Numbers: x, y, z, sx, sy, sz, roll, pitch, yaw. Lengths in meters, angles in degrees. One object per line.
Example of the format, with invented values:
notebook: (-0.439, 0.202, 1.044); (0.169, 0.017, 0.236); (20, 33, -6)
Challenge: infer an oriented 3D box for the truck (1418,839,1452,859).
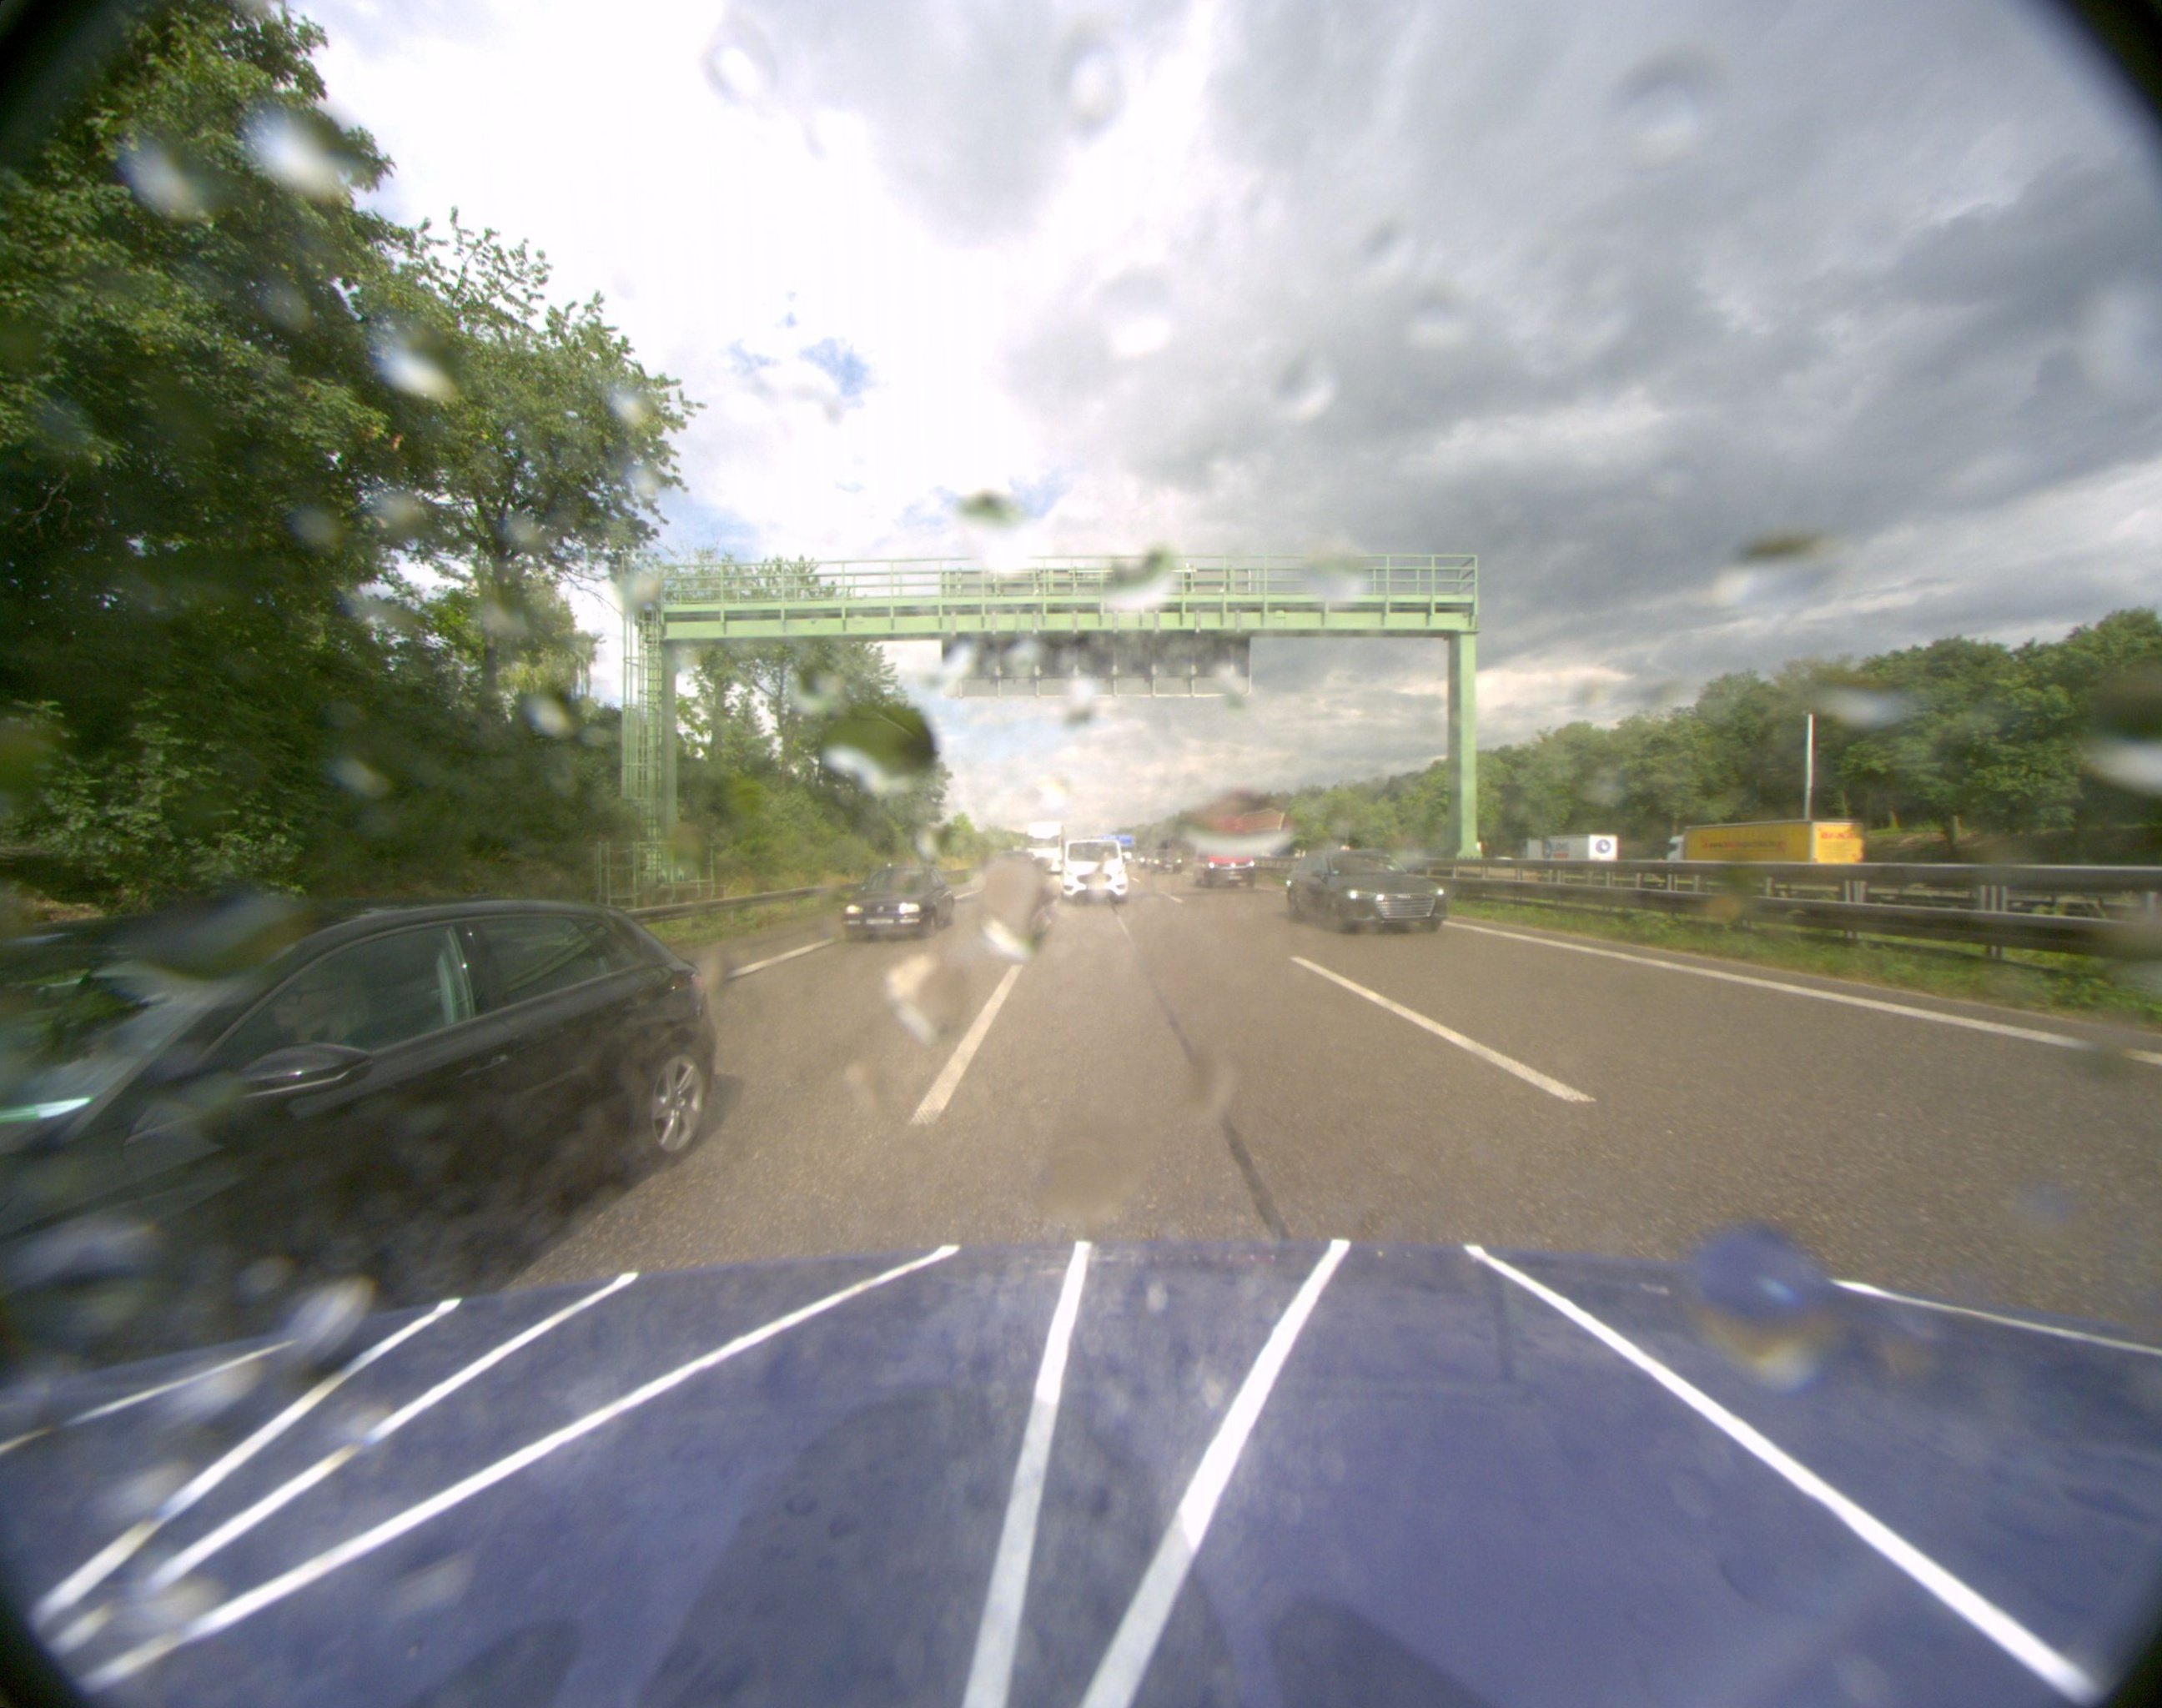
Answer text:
truck: (56.645, -0.842, 121.671); (3.049, 3.165, 5.597); (0, 0, 2)

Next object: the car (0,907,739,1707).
car: (-2.935, 1.052, 2.298); (1.759, 1.388, 4.368); (-2, 0, 0)

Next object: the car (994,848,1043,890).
car: (-2.869, 0.654, 35.925); (1.831, 1.793, 5.305); (-1, 0, 0)

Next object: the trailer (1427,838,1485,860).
trailer: (56.397, -0.800, 114.723); (3.026, 3.174, 12.175); (0, 0, 2)

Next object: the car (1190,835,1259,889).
car: (5.783, 0.302, 31.264); (1.895, 1.973, 4.750); (-2, 0, 0)

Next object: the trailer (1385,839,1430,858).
trailer: (57.012, -0.981, 133.107); (2.611, 3.253, 12.647); (0, 0, 0)

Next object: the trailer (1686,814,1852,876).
trailer: (46.814, -0.659, 52.543); (1.997, 3.673, 13.669); (-2, 1, 13)

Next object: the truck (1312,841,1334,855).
truck: (55.532, -1.331, 174.688); (3.182, 3.237, 5.389); (0, 1, -2)

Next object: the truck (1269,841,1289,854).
truck: (52.346, -1.667, 200.832); (3.082, 3.237, 6.093); (0, 1, -7)

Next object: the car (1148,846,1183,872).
car: (5.862, 0.319, 53.096); (1.895, 1.660, 4.294); (-2, 1, 0)

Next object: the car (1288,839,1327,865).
car: (19.012, -0.157, 63.919); (1.837, 2.001, 3.999); (-3, -1, -3)

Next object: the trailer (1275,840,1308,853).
trailer: (53.254, -1.860, 192.691); (3.086, 3.253, 13.400); (0, 0, -6)

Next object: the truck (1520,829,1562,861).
truck: (53.535, -1.030, 88.574); (2.167, 3.599, 5.581); (0, 1, 8)

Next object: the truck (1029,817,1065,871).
truck: (-2.607, -0.764, 60.514); (2.460, 4.080, 5.332); (-2, 0, 0)

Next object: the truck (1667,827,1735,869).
truck: (48.325, -0.504, 59.352); (1.979, 3.080, 5.080); (-2, 1, 13)

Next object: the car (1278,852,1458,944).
car: (5.195, 0.696, 14.442); (1.723, 1.403, 4.467); (-2, 0, 0)

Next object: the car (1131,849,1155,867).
car: (5.701, 0.339, 70.563); (1.895, 1.558, 4.053); (-2, 1, 0)

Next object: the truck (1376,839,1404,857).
truck: (57.031, -1.047, 140.374); (2.582, 3.232, 6.535); (0, 1, 0)

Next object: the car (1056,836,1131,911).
car: (0.357, 0.527, 23.485); (1.985, 1.973, 5.168); (-2, 0, 0)

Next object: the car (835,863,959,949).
car: (-3.626, 0.958, 15.614); (1.655, 1.448, 3.744); (-2, 1, -1)

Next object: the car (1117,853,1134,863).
car: (5.808, 0.462, 99.407); (1.888, 1.228, 4.506); (-2, 0, 0)

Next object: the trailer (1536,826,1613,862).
trailer: (52.545, -0.993, 81.337); (2.187, 3.579, 11.725); (0, 0, 8)

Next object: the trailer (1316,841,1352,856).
trailer: (55.787, -1.286, 167.960); (3.193, 3.253, 12.644); (0, 0, -2)

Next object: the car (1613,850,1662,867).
car: (50.887, 0.432, 69.562); (1.898, 1.494, 4.002); (0, 0, 8)

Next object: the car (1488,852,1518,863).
car: (55.163, 0.444, 99.312); (1.899, 1.494, 4.001); (0, 0, 4)

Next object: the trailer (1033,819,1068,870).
trailer: (-2.579, -0.809, 68.315); (2.451, 4.095, 12.214); (-2, 1, 0)

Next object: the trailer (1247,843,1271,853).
trailer: (49.882, -1.725, 213.349); (2.537, 2.559, 9.869); (-2, 1, -11)

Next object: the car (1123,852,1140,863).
car: (5.896, 0.385, 88.934); (1.675, 1.228, 4.000); (-2, 0, 0)
